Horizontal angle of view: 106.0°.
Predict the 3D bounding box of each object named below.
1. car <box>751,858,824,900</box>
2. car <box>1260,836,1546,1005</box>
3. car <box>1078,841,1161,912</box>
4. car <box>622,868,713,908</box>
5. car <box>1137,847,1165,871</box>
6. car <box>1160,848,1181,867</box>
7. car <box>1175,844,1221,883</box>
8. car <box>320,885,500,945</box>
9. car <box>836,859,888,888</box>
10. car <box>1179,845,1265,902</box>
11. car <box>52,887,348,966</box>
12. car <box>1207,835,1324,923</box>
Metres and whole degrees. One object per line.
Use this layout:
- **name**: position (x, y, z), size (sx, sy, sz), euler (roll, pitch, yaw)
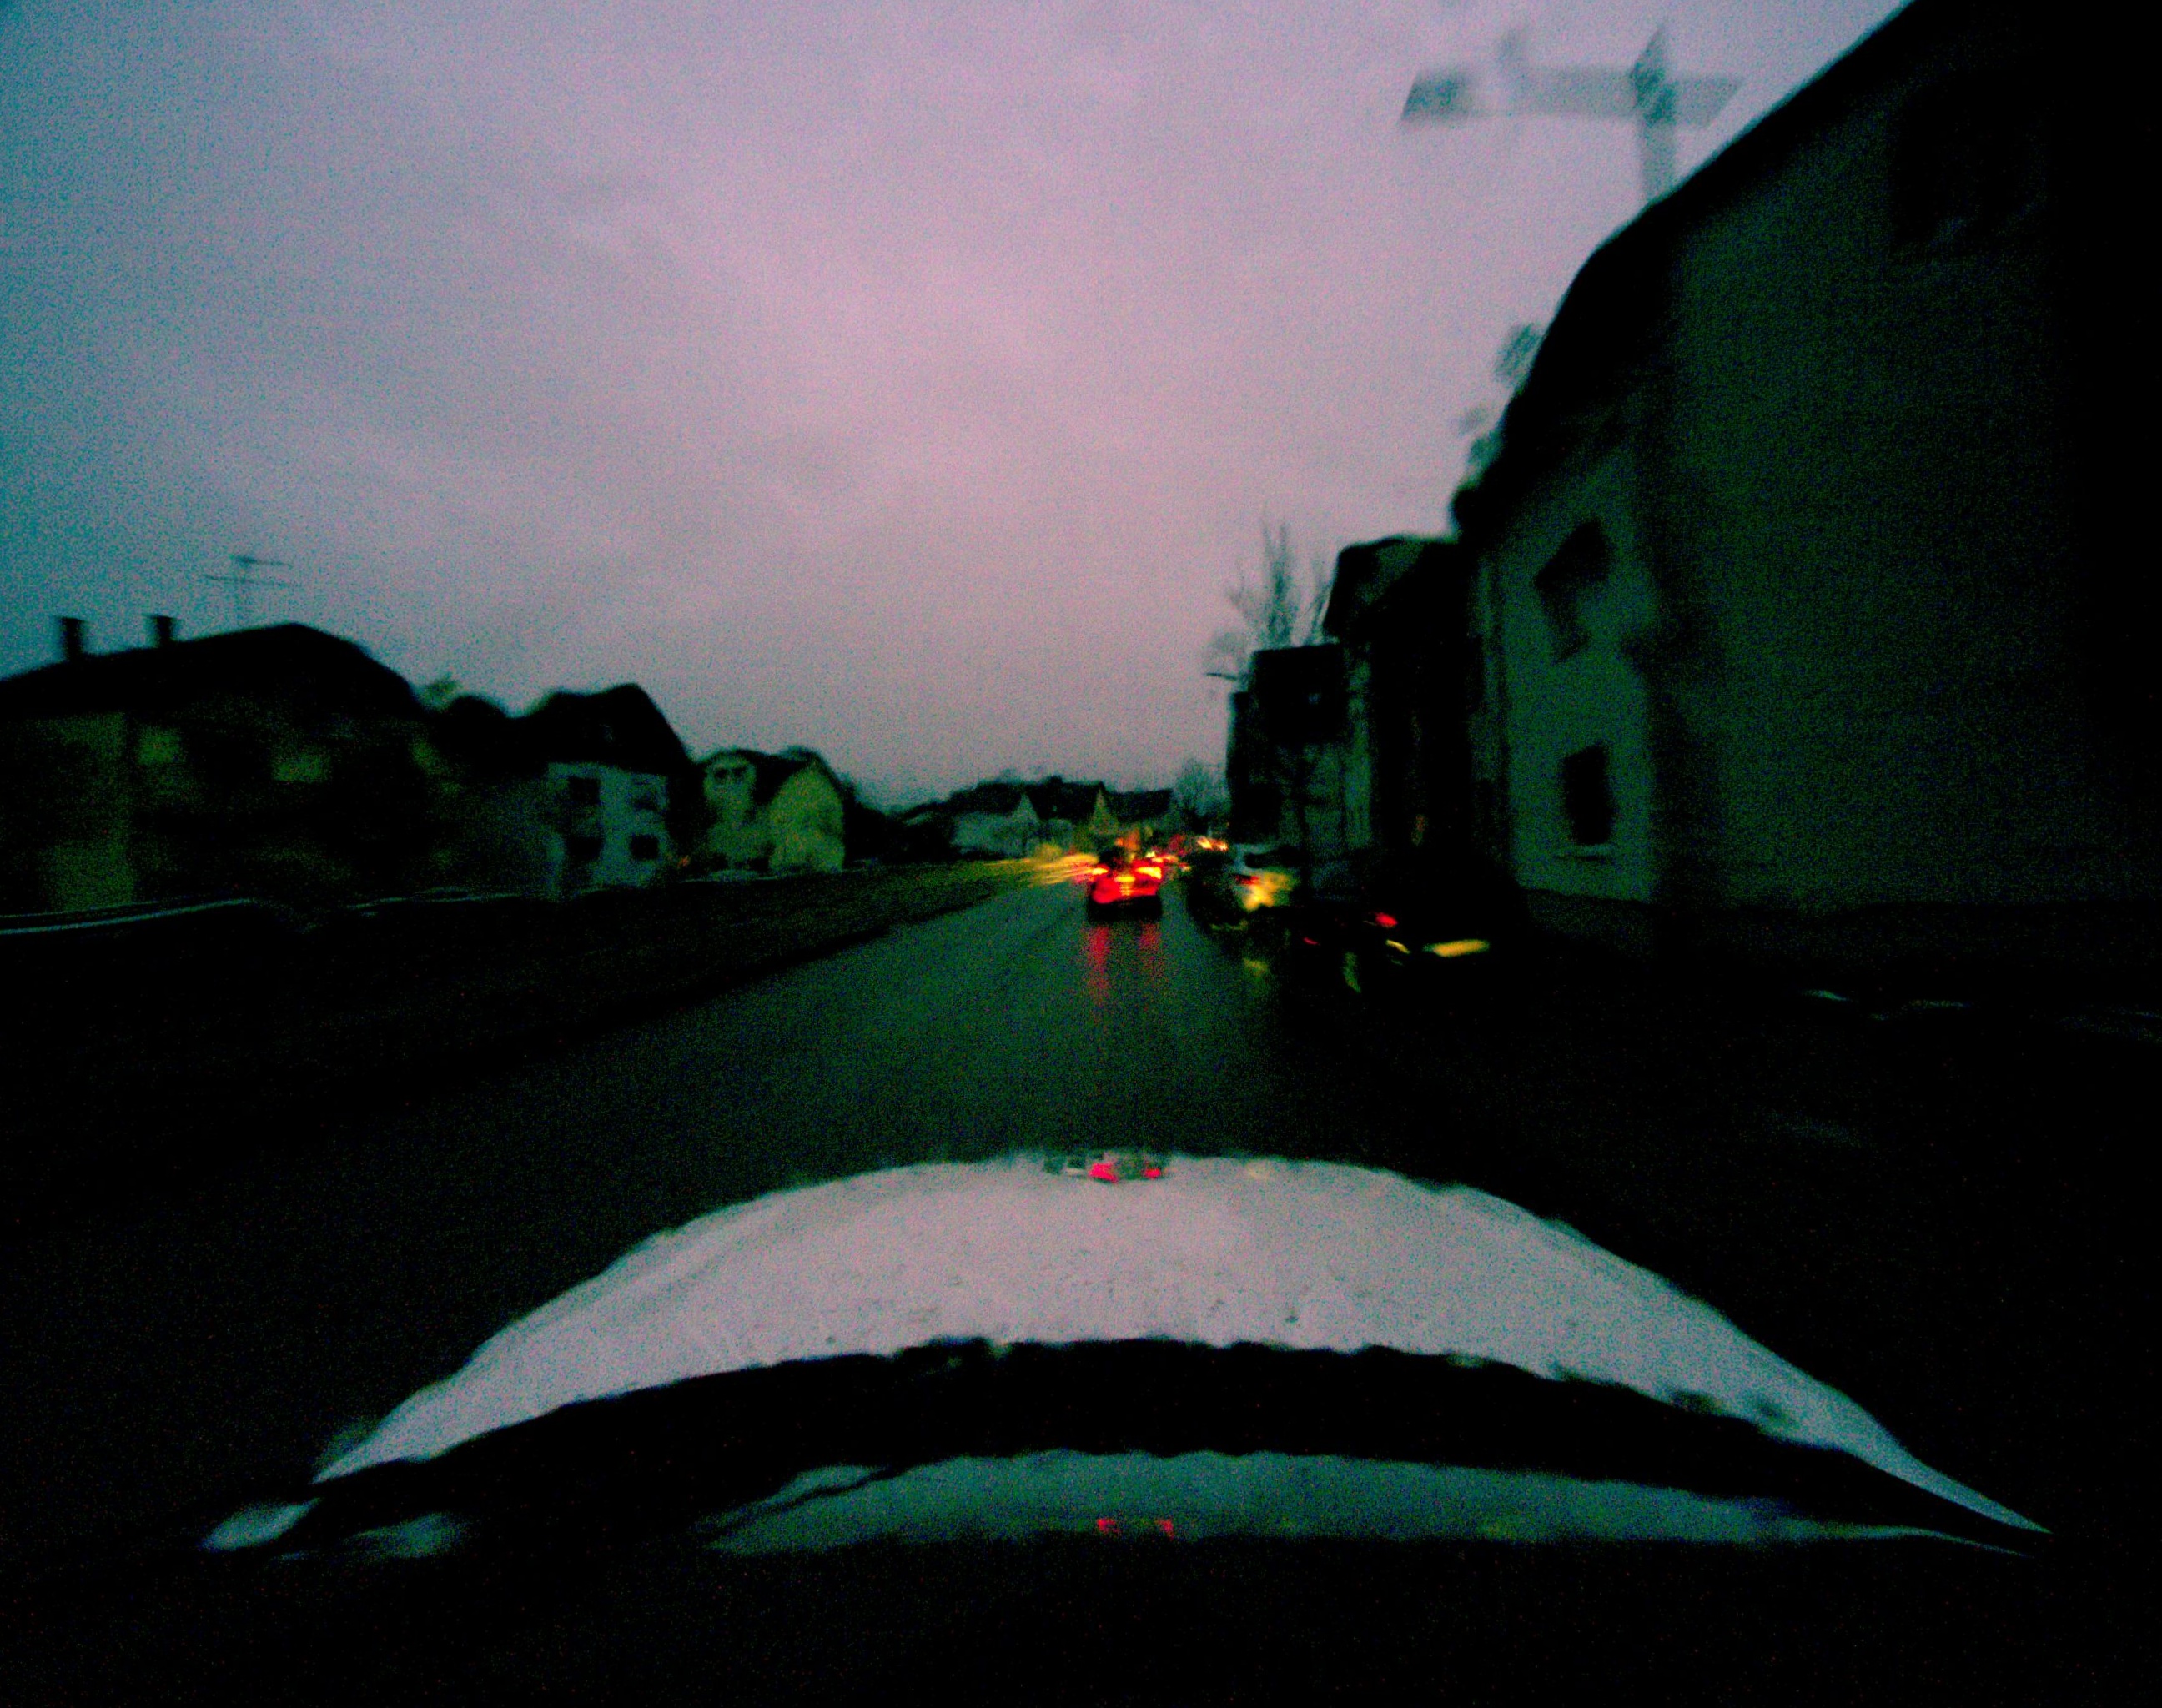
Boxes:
- **car**: position (-14.005, 1.137, 39.094), size (1.791, 1.803, 3.866), euler (-3, 0, 5)
- **car**: position (3.427, 0.595, 9.604), size (1.697, 1.451, 4.192), euler (-4, 0, 1)
- **car**: position (0.994, 0.500, 21.696), size (1.957, 1.594, 4.316), euler (-2, 1, 2)
- **car**: position (-19.448, 1.555, 38.531), size (1.848, 1.681, 4.009), euler (-1, 0, 8)
- **car**: position (4.463, 0.281, 51.854), size (1.674, 1.453, 4.006), euler (0, 0, 5)
- **car**: position (7.954, 0.294, 72.404), size (1.805, 1.412, 4.008), euler (-2, 2, 6)
- **car**: position (5.003, 0.371, 35.324), size (1.644, 1.455, 4.244), euler (-5, 0, 5)
- **car**: position (-21.009, 1.855, 25.742), size (1.866, 1.505, 4.153), euler (-2, 0, 8)
- **car**: position (-16.133, 1.418, 60.365), size (1.862, 1.778, 4.514), euler (-5, 1, 10)
- **car**: position (4.142, 0.503, 24.657), size (1.949, 1.532, 5.013), euler (-1, 0, 3)
- **car**: position (-21.491, 1.700, 20.227), size (1.865, 1.442, 4.661), euler (-2, 0, 9)
- **car**: position (3.865, 0.466, 17.792), size (1.658, 1.575, 4.500), euler (-3, 0, 3)
